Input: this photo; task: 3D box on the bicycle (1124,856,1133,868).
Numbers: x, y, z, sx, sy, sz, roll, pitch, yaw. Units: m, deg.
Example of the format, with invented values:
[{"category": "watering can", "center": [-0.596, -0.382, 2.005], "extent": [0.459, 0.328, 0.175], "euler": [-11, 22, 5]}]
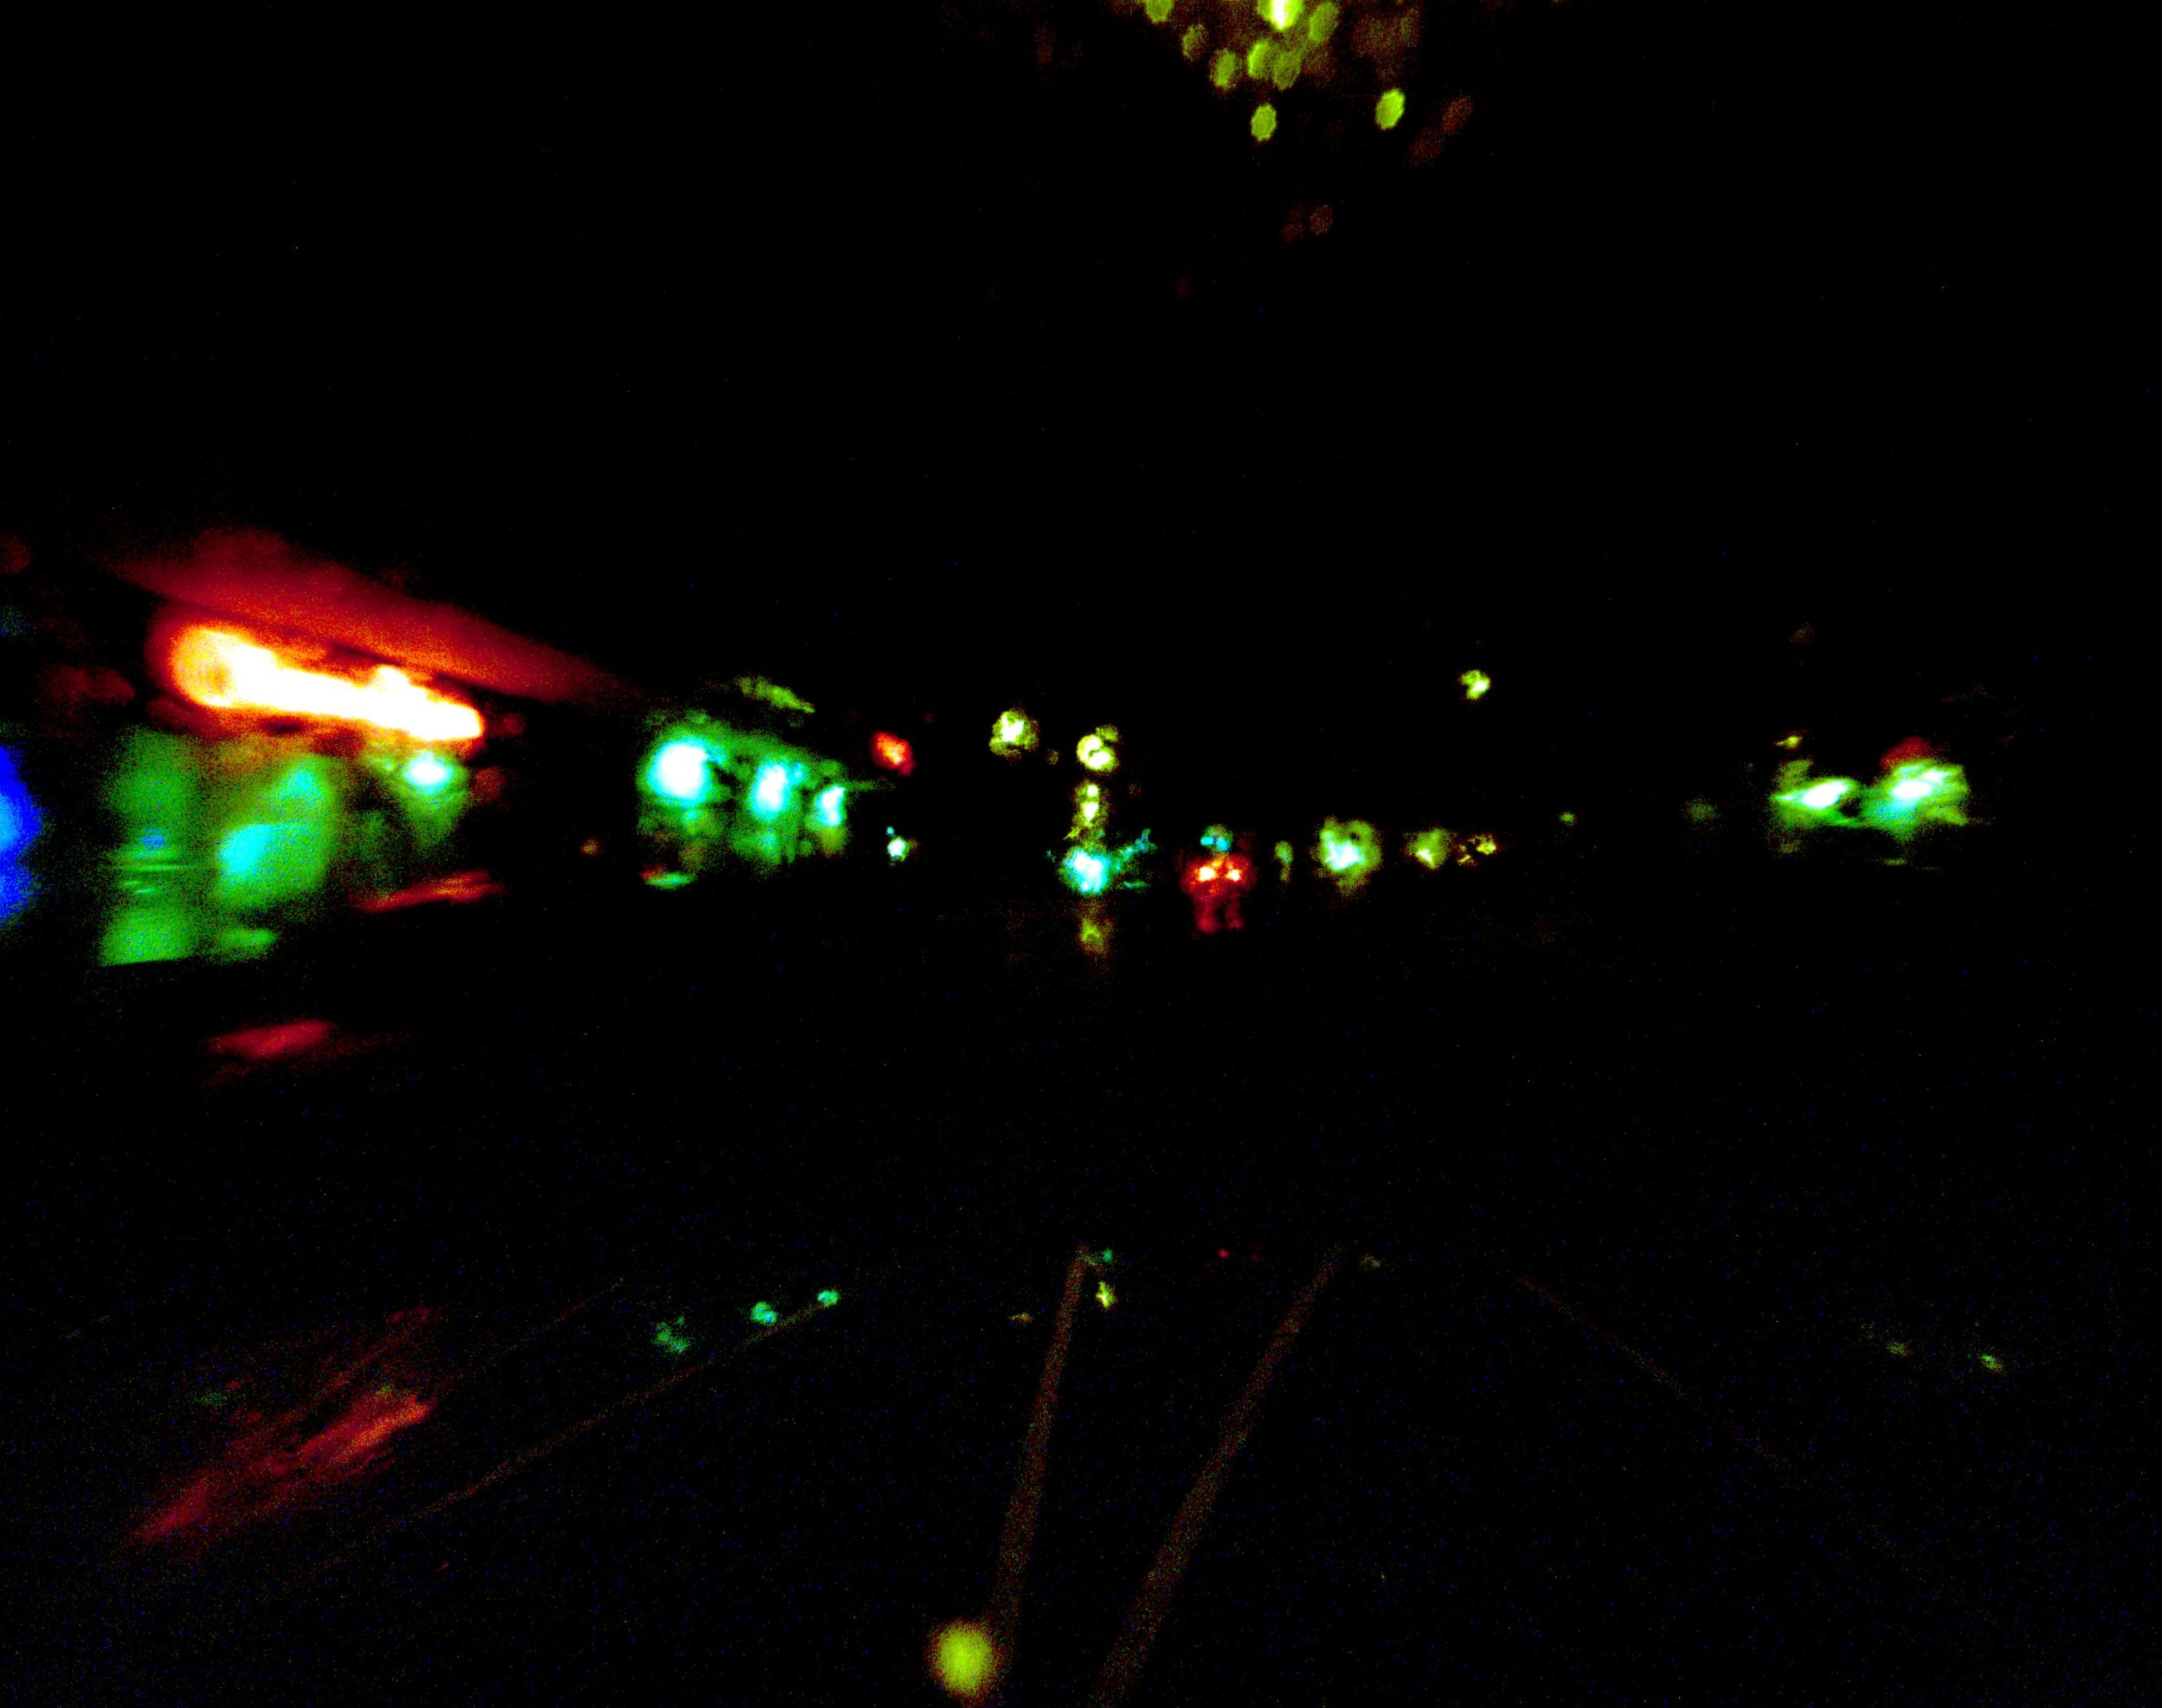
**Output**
[{"category": "bicycle", "center": [4.203, 0.701, 67.250], "extent": [0.714, 1.053, 1.802], "euler": [0, 0, 0]}]

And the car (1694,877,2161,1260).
[{"category": "car", "center": [5.287, 0.926, 4.179], "extent": [1.590, 1.501, 2.787], "euler": [-1, 0, 1]}]

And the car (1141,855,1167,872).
[{"category": "car", "center": [6.665, 0.853, 69.772], "extent": [1.721, 1.470, 4.159], "euler": [-1, 0, -3]}]

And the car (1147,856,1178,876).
[{"category": "car", "center": [6.311, 0.901, 59.289], "extent": [1.851, 1.470, 5.031], "euler": [-1, 0, 1]}]

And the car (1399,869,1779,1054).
[{"category": "car", "center": [5.252, 0.975, 8.609], "extent": [1.590, 1.455, 4.024], "euler": [-3, 0, 1]}]

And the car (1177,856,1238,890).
[{"category": "car", "center": [5.853, 0.841, 35.607], "extent": [1.568, 1.419, 4.065], "euler": [0, 1, -10]}]

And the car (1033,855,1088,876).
[{"category": "car", "center": [-1.628, 0.946, 61.036], "extent": [4.080, 1.588, 1.829], "euler": [2, 0, -34]}]

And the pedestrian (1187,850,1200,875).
[{"category": "pedestrian", "center": [8.284, 0.626, 55.869], "extent": [0.827, 1.761, 0.600], "euler": [-1, 1, 13]}]

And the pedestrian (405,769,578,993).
[{"category": "pedestrian", "center": [-6.165, 0.268, 8.010], "extent": [1.056, 2.195, 0.970], "euler": [1, 1, 0]}]

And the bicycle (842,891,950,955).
[{"category": "bicycle", "center": [-3.196, 1.186, 13.201], "extent": [1.766, 1.073, 0.435], "euler": [0, 0, -1]}]

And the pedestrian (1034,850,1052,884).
[{"category": "pedestrian", "center": [-2.123, 0.705, 42.332], "extent": [0.958, 1.852, 1.415], "euler": [0, 0, -1]}]

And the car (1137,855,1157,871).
[{"category": "car", "center": [6.515, 0.855, 75.171], "extent": [1.720, 1.470, 3.786], "euler": [-2, 0, 3]}]

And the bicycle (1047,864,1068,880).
[{"category": "bicycle", "center": [-1.568, 1.205, 49.990], "extent": [1.641, 1.020, 0.337], "euler": [0, -1, 44]}]

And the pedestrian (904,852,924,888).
[{"category": "pedestrian", "center": [-8.580, 0.807, 39.021], "extent": [0.676, 1.822, 1.078], "euler": [-2, 0, 2]}]

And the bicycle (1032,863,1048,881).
[{"category": "bicycle", "center": [-2.670, 1.143, 49.399], "extent": [0.336, 1.021, 1.641], "euler": [-1, 4, -29]}]

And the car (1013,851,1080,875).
[{"category": "car", "center": [-2.356, 0.631, 52.440], "extent": [4.270, 1.564, 1.768], "euler": [2, 0, -28]}]

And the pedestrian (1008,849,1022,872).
[{"category": "pedestrian", "center": [-5.229, 0.508, 60.470], "extent": [0.789, 1.807, 0.812], "euler": [1, 2, 25]}]

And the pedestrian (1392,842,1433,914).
[{"category": "pedestrian", "center": [8.786, 0.622, 20.189], "extent": [0.797, 1.847, 0.947], "euler": [2, 1, 13]}]

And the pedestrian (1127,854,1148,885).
[{"category": "pedestrian", "center": [3.393, 0.928, 45.767], "extent": [0.876, 1.823, 0.986], "euler": [0, 1, 37]}]

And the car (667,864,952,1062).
[{"category": "car", "center": [-2.711, 0.980, 8.690], "extent": [1.757, 1.557, 4.153], "euler": [-2, 1, -1]}]

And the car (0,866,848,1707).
[{"category": "car", "center": [-2.530, 0.903, 3.189], "extent": [1.757, 1.529, 4.397], "euler": [-2, 1, -1]}]

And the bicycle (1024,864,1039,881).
[{"category": "bicycle", "center": [-3.197, 1.188, 49.105], "extent": [0.336, 1.086, 1.643], "euler": [1, -1, -26]}]

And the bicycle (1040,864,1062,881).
[{"category": "bicycle", "center": [-1.968, 1.227, 49.723], "extent": [0.337, 1.020, 1.641], "euler": [1, 1, -44]}]

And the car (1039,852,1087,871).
[{"category": "car", "center": [-1.913, 0.785, 80.447], "extent": [4.720, 1.968, 1.975], "euler": [1, 0, -29]}]

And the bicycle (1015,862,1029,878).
[{"category": "bicycle", "center": [-3.828, 1.024, 49.046], "extent": [0.336, 1.020, 1.642], "euler": [1, 1, -26]}]

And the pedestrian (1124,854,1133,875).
[{"category": "pedestrian", "center": [4.199, 0.936, 67.350], "extent": [0.714, 1.801, 1.125], "euler": [0, 0, 0]}]

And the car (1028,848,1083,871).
[{"category": "car", "center": [-1.963, 0.416, 58.138], "extent": [3.801, 1.702, 1.744], "euler": [2, 0, -34]}]

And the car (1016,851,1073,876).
[{"category": "car", "center": [-2.627, 0.709, 55.244], "extent": [3.747, 1.702, 1.767], "euler": [2, 0, -34]}]

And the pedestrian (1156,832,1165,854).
[{"category": "pedestrian", "center": [8.130, -1.073, 77.881], "extent": [0.801, 2.228, 1.116], "euler": [0, 0, -1]}]

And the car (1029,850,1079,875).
[{"category": "car", "center": [-2.255, 0.722, 62.992], "extent": [3.747, 2.016, 1.717], "euler": [1, 0, -35]}]

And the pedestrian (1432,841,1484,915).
[{"category": "pedestrian", "center": [9.269, 0.576, 18.716], "extent": [0.805, 1.756, 1.016], "euler": [-2, 1, 6]}]

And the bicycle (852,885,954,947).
[{"category": "bicycle", "center": [-3.300, 1.150, 14.125], "extent": [1.787, 1.118, 0.435], "euler": [0, 0, -1]}]
